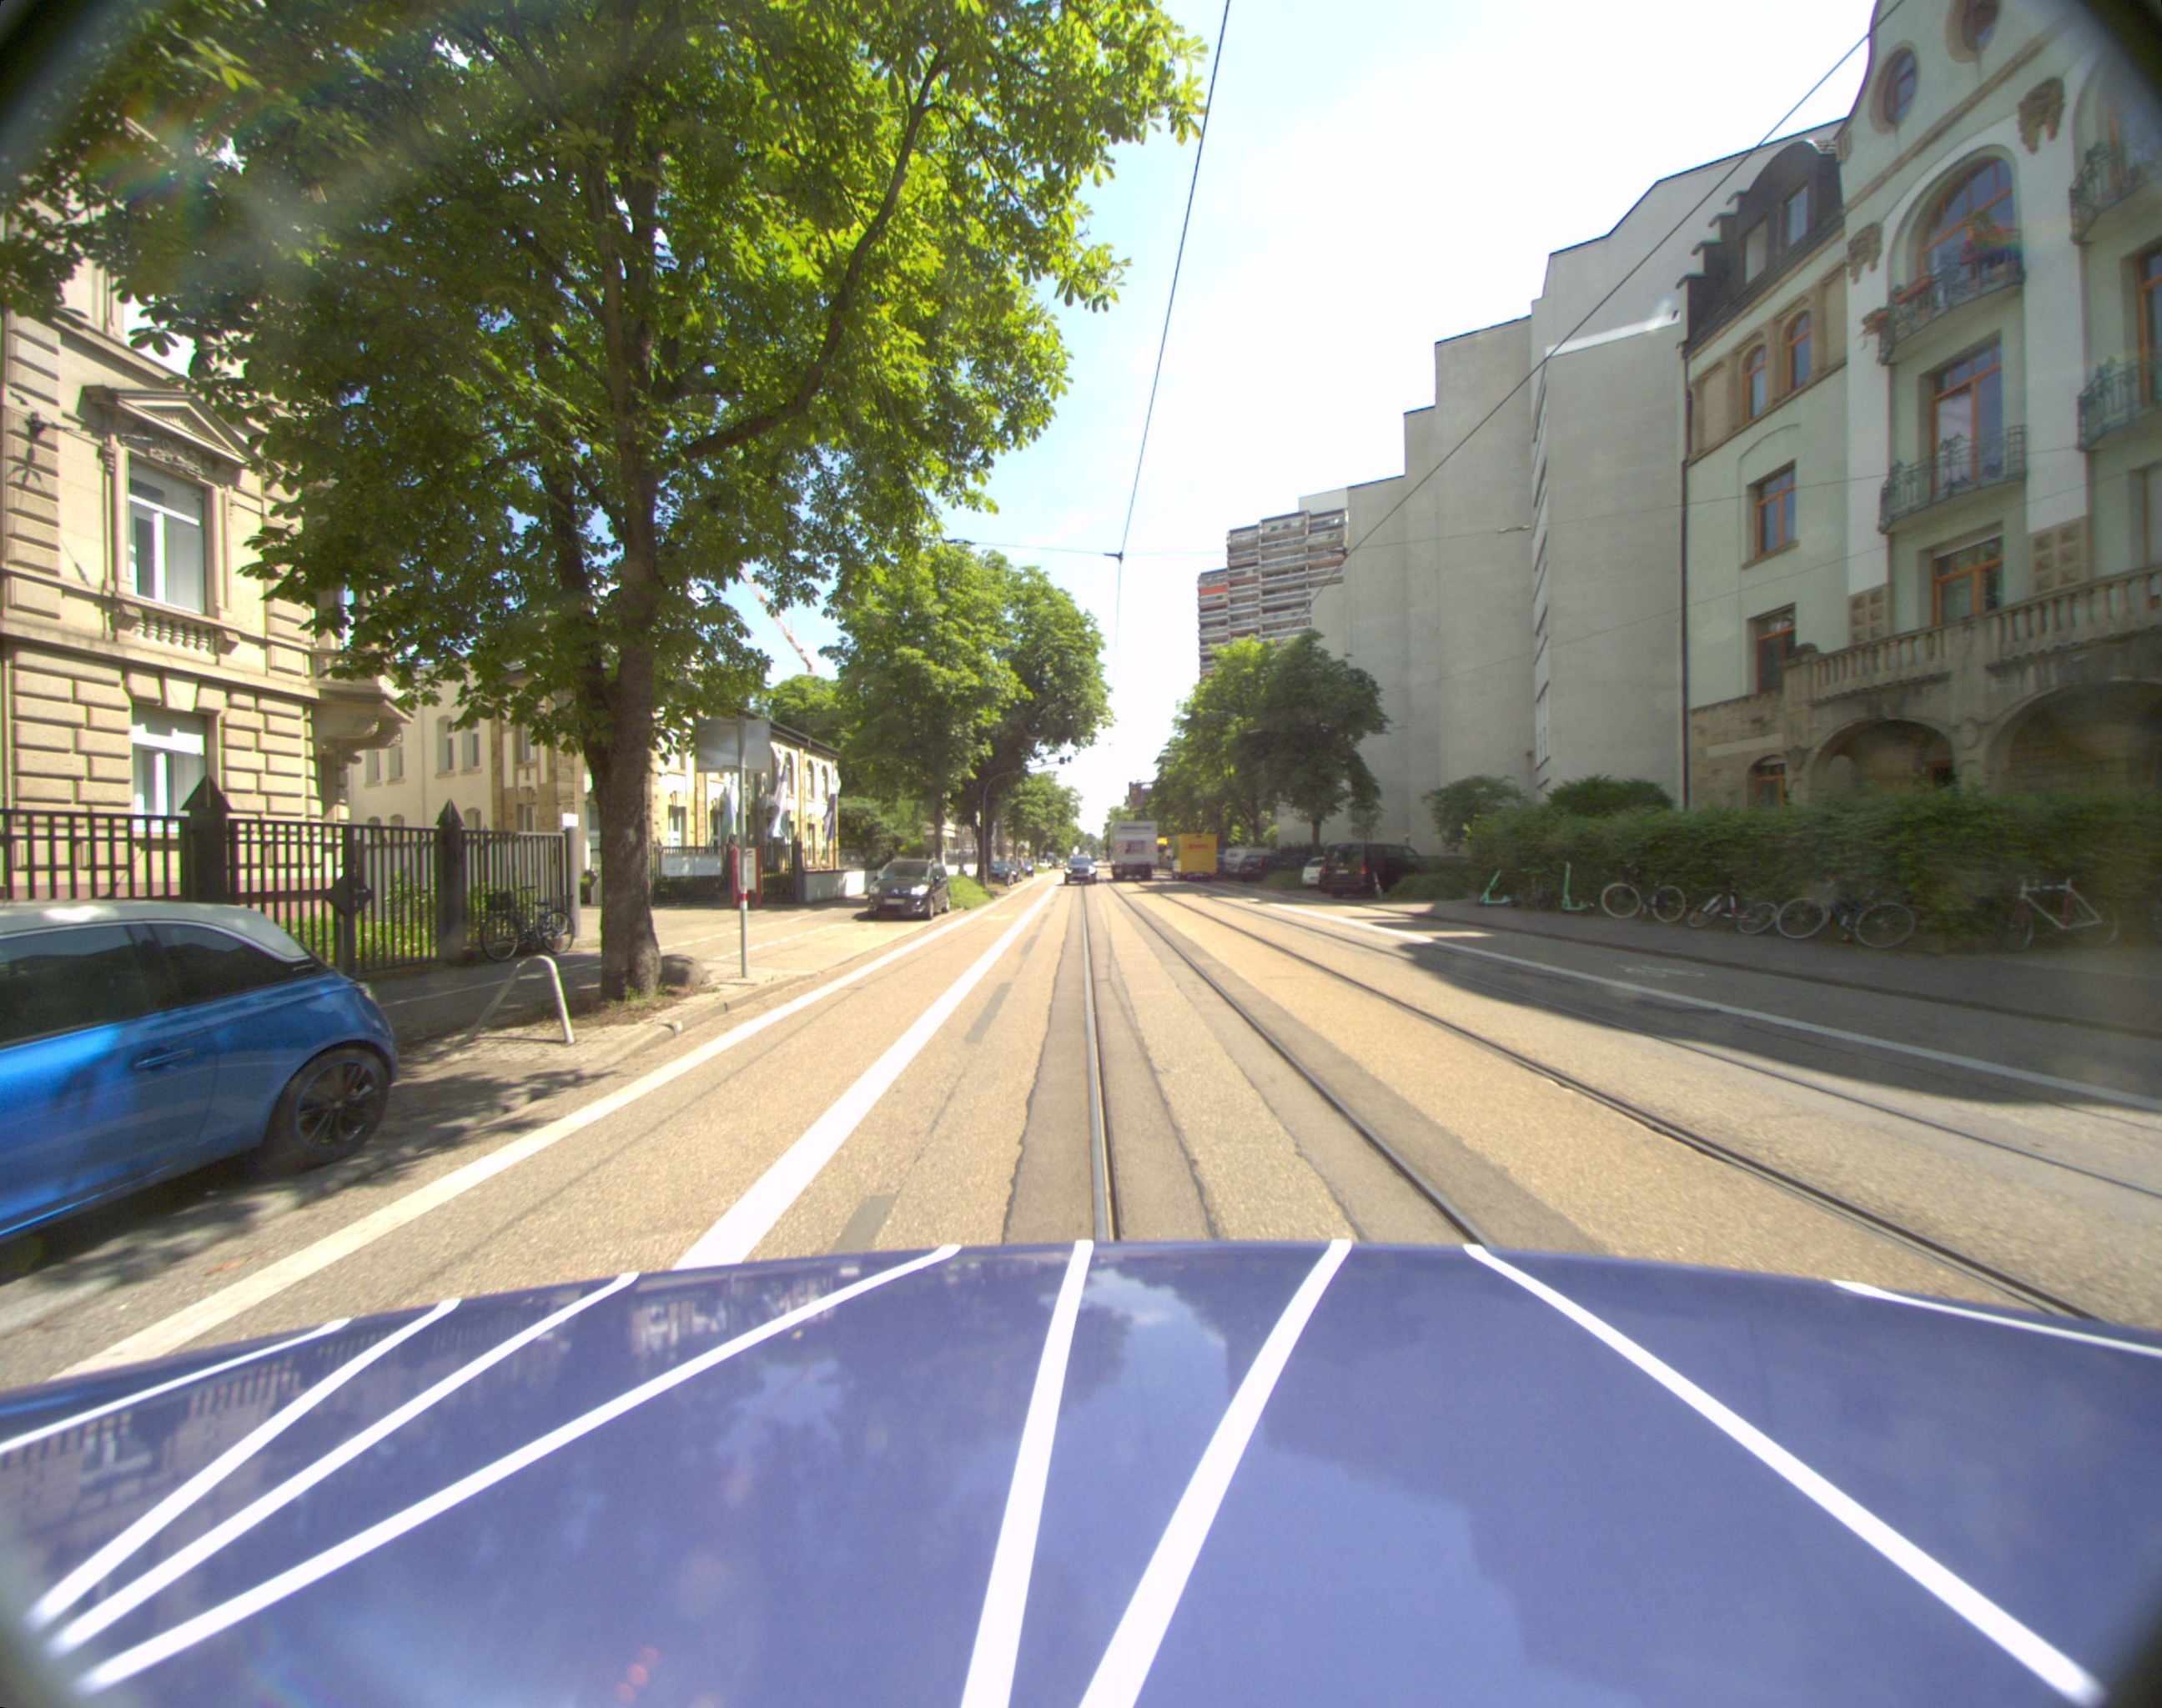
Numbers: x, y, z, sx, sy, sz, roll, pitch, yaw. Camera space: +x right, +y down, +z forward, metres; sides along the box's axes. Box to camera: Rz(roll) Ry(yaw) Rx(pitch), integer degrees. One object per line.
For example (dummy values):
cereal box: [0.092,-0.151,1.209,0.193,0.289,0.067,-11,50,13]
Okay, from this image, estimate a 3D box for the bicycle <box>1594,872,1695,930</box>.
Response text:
bicycle: [10.886,0.880,14.748,0.609,0.983,1.708,-5,0,0]

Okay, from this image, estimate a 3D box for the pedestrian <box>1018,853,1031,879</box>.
pedestrian: [-4.081,0.879,54.649,0.741,1.839,0.645,-1,1,-26]

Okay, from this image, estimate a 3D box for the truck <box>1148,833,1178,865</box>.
truck: [11.204,-0.668,102.649,2.672,4.155,10.483,-1,0,14]

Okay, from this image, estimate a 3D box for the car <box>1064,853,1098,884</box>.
car: [0.007,0.787,43.390,1.752,1.641,4.297,-2,0,0]

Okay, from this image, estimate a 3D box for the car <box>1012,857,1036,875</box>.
car: [-4.628,0.972,62.334,1.626,1.395,4.000,1,0,0]

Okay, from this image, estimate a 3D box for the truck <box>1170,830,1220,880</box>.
truck: [7.120,0.061,48.192,2.306,2.903,6.515,-1,0,1]

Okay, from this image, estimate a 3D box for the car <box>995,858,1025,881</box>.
car: [-4.650,0.979,50.204,1.626,1.395,4.000,1,0,0]

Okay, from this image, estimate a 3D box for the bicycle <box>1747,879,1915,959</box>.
bicycle: [10.758,0.898,11.000,0.609,0.970,1.771,-5,0,0]

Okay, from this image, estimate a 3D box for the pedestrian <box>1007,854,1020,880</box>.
pedestrian: [-4.754,0.895,53.507,0.645,1.839,0.741,0,1,27]

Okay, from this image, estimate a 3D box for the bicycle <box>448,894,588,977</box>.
bicycle: [-8.609,1.203,11.736,0.609,1.065,1.980,-1,0,2]

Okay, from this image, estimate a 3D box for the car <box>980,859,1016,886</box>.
car: [-4.690,1.027,43.515,1.626,1.395,3.823,1,0,0]

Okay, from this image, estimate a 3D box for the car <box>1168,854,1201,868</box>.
car: [10.968,0.766,80.410,1.678,1.411,3.682,-1,0,44]

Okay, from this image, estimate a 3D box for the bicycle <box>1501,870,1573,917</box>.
bicycle: [10.856,0.913,18.162,0.609,0.983,1.708,-5,0,0]

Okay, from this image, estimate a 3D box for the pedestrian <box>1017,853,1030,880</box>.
pedestrian: [-4.037,0.869,53.020,0.645,1.839,0.741,-1,1,18]

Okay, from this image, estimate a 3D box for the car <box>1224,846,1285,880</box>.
car: [10.862,0.515,47.390,4.061,2.030,1.598,-1,0,-40]

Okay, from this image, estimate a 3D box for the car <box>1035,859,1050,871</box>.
car: [-4.941,1.366,97.216,1.626,1.395,4.000,1,0,0]

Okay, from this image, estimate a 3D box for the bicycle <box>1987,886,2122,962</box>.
bicycle: [12.110,0.862,9.467,1.208,0.903,0.340,-1,1,2]

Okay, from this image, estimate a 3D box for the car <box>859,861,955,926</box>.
car: [-4.807,1.025,21.589,1.734,1.606,4.084,1,0,0]

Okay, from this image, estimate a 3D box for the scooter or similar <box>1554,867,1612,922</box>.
scooter or similar: [10.823,0.846,16.417,0.407,1.113,1.291,-1,0,2]

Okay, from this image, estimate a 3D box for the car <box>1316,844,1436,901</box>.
car: [10.813,0.604,27.733,4.595,1.914,1.957,-1,0,-37]

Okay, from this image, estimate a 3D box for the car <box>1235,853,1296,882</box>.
car: [10.692,0.731,43.916,3.692,1.566,1.678,-1,1,-42]

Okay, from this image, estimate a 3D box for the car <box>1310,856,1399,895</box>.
car: [11.262,0.841,31.162,3.953,1.445,1.678,-1,0,-41]

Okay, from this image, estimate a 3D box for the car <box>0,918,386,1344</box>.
car: [-4.855,1.104,2.630,1.695,1.444,3.473,-1,0,-1]

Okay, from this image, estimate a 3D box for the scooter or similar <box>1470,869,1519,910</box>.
scooter or similar: [10.809,0.920,19.890,0.407,1.014,1.222,-1,0,-16]

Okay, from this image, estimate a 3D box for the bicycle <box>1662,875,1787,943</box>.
bicycle: [10.840,0.901,12.882,0.609,0.983,1.708,-5,0,0]

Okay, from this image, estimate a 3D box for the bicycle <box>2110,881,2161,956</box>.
bicycle: [13.694,0.796,9.481,1.208,0.903,0.340,-1,1,2]

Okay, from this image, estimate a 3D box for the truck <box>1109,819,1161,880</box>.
truck: [3.328,-0.265,48.872,2.792,3.598,8.255,-1,0,0]

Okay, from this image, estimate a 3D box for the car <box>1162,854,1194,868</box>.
car: [10.698,0.725,83.611,1.678,1.445,3.682,0,0,44]

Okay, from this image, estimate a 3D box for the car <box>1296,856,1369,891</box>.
car: [11.401,0.827,34.354,1.721,1.445,3.635,-1,0,44]
